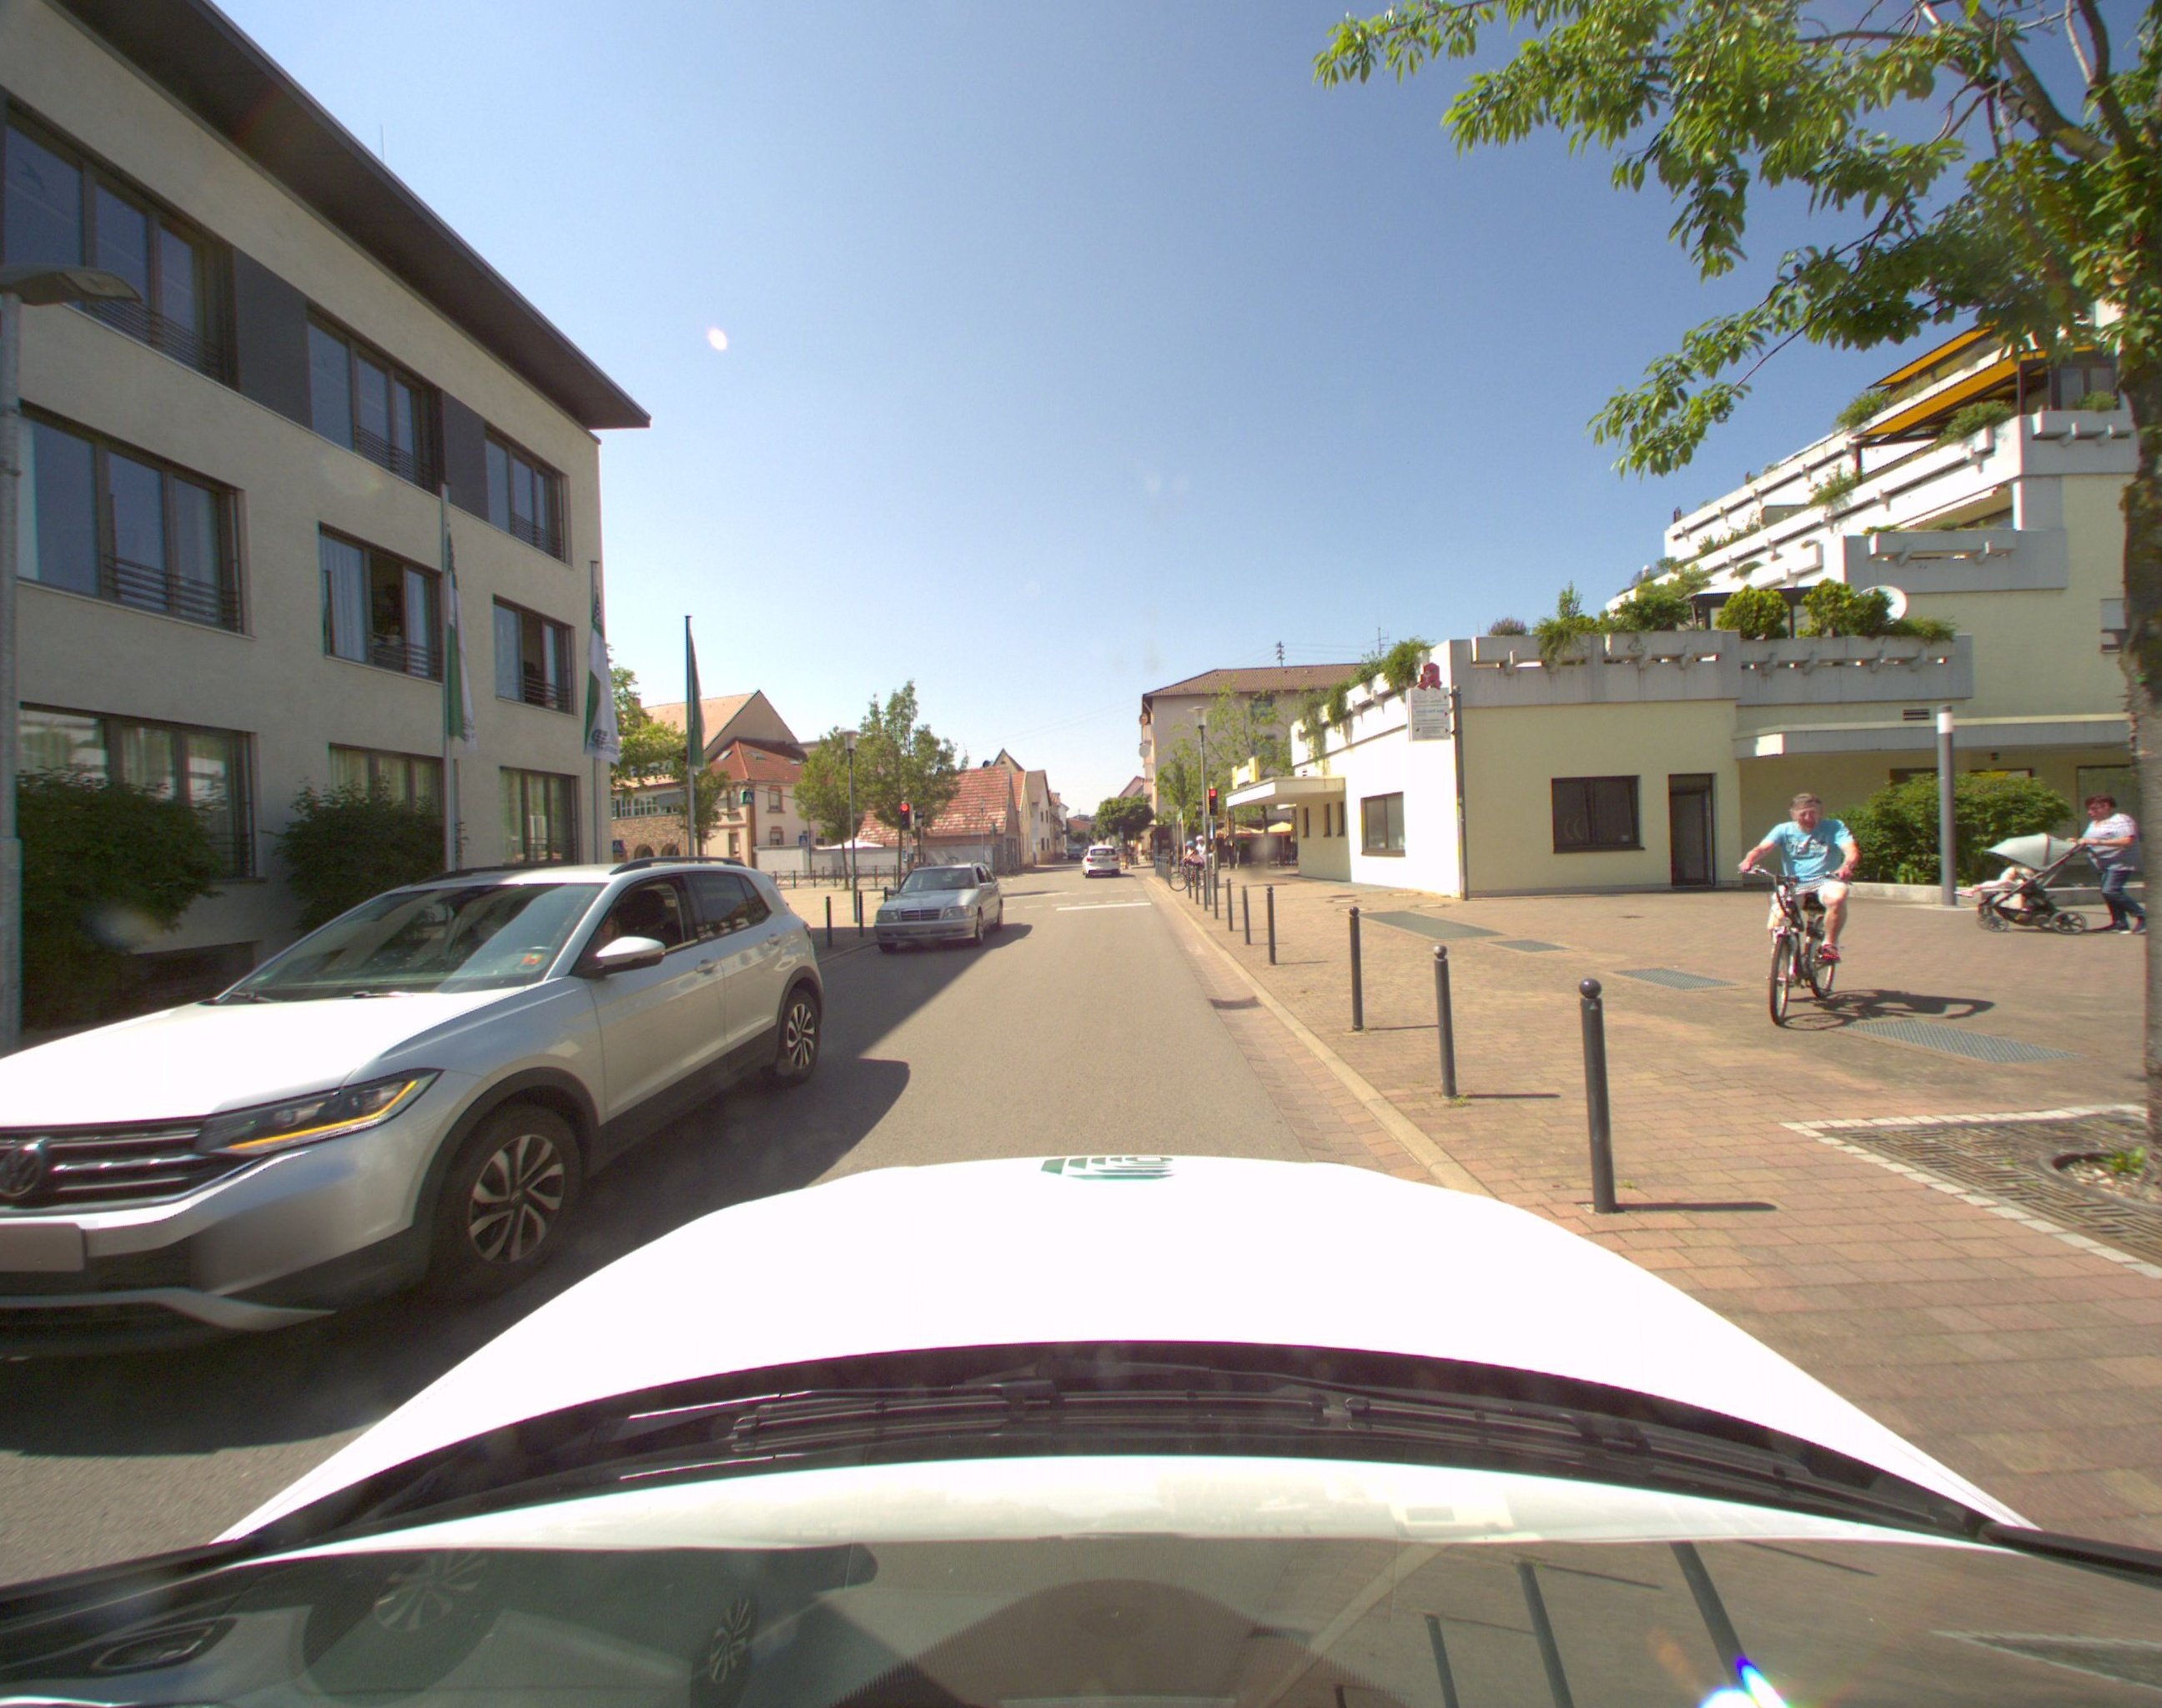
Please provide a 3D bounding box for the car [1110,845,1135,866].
[{"bbox_3d":[3.382,0.114,65.544,1.796,1.501,4.005,-2,1,5],"label":"car"}]

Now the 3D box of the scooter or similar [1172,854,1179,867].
[{"bbox_3d":[6.188,0.417,53.355,0.376,0.873,0.892,-2,0,8],"label":"scooter or similar"}]

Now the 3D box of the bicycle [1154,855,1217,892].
[{"bbox_3d":[3.201,0.573,24.873,1.905,0.958,0.668,-5,1,-36],"label":"bicycle"}]

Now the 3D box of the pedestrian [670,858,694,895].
[{"bbox_3d":[-18.505,1.032,37.788,0.818,1.654,0.841,-1,-1,-38],"label":"pedestrian"}]

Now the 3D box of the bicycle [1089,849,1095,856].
[{"bbox_3d":[1.652,-0.211,118.536,0.661,1.006,1.900,-3,0,5],"label":"bicycle"}]

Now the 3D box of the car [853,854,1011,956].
[{"bbox_3d":[-2.581,0.818,15.252,1.873,1.464,4.438,-5,0,2],"label":"car"}]

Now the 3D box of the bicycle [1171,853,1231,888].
[{"bbox_3d":[3.878,0.537,26.328,1.903,0.958,0.669,-5,1,-33],"label":"bicycle"}]

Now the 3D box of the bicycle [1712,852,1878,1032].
[{"bbox_3d":[5.661,0.609,6.414,1.906,1.109,0.668,-5,1,-40],"label":"bicycle"}]

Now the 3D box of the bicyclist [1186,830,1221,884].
[{"bbox_3d":[3.956,0.106,26.391,0.764,1.664,0.664,-5,1,-33],"label":"bicyclist"}]

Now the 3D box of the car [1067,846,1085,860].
[{"bbox_3d":[-0.561,-0.097,96.395,1.706,1.517,3.791,-2,0,4],"label":"car"}]

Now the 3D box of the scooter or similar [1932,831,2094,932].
[{"bbox_3d":[10.661,0.308,9.358,1.031,1.106,0.631,-2,0,22],"label":"scooter or similar"}]

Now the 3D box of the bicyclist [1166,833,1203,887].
[{"bbox_3d":[3.153,0.179,24.866,0.765,1.581,0.663,-5,1,-36],"label":"bicyclist"}]

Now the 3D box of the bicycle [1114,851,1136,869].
[{"bbox_3d":[3.069,0.423,56.750,0.530,1.193,1.655,-2,0,-41],"label":"bicycle"}]

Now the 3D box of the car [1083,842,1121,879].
[{"bbox_3d":[1.034,0.292,42.069,1.828,1.651,4.000,-3,2,0],"label":"car"}]

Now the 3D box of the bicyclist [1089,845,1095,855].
[{"bbox_3d":[1.633,-0.543,118.504,0.670,1.482,0.771,-3,0,5],"label":"bicyclist"}]

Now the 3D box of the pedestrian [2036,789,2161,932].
[{"bbox_3d":[11.410,0.069,9.041,0.792,1.521,0.710,-2,0,21],"label":"pedestrian"}]

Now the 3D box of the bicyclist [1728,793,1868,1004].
[{"bbox_3d":[5.655,0.317,6.420,0.765,1.526,0.663,-4,1,-40],"label":"bicyclist"}]

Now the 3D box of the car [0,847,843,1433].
[{"bbox_3d":[-2.889,0.793,4.247,1.843,1.573,4.004,-2,0,3],"label":"car"}]
